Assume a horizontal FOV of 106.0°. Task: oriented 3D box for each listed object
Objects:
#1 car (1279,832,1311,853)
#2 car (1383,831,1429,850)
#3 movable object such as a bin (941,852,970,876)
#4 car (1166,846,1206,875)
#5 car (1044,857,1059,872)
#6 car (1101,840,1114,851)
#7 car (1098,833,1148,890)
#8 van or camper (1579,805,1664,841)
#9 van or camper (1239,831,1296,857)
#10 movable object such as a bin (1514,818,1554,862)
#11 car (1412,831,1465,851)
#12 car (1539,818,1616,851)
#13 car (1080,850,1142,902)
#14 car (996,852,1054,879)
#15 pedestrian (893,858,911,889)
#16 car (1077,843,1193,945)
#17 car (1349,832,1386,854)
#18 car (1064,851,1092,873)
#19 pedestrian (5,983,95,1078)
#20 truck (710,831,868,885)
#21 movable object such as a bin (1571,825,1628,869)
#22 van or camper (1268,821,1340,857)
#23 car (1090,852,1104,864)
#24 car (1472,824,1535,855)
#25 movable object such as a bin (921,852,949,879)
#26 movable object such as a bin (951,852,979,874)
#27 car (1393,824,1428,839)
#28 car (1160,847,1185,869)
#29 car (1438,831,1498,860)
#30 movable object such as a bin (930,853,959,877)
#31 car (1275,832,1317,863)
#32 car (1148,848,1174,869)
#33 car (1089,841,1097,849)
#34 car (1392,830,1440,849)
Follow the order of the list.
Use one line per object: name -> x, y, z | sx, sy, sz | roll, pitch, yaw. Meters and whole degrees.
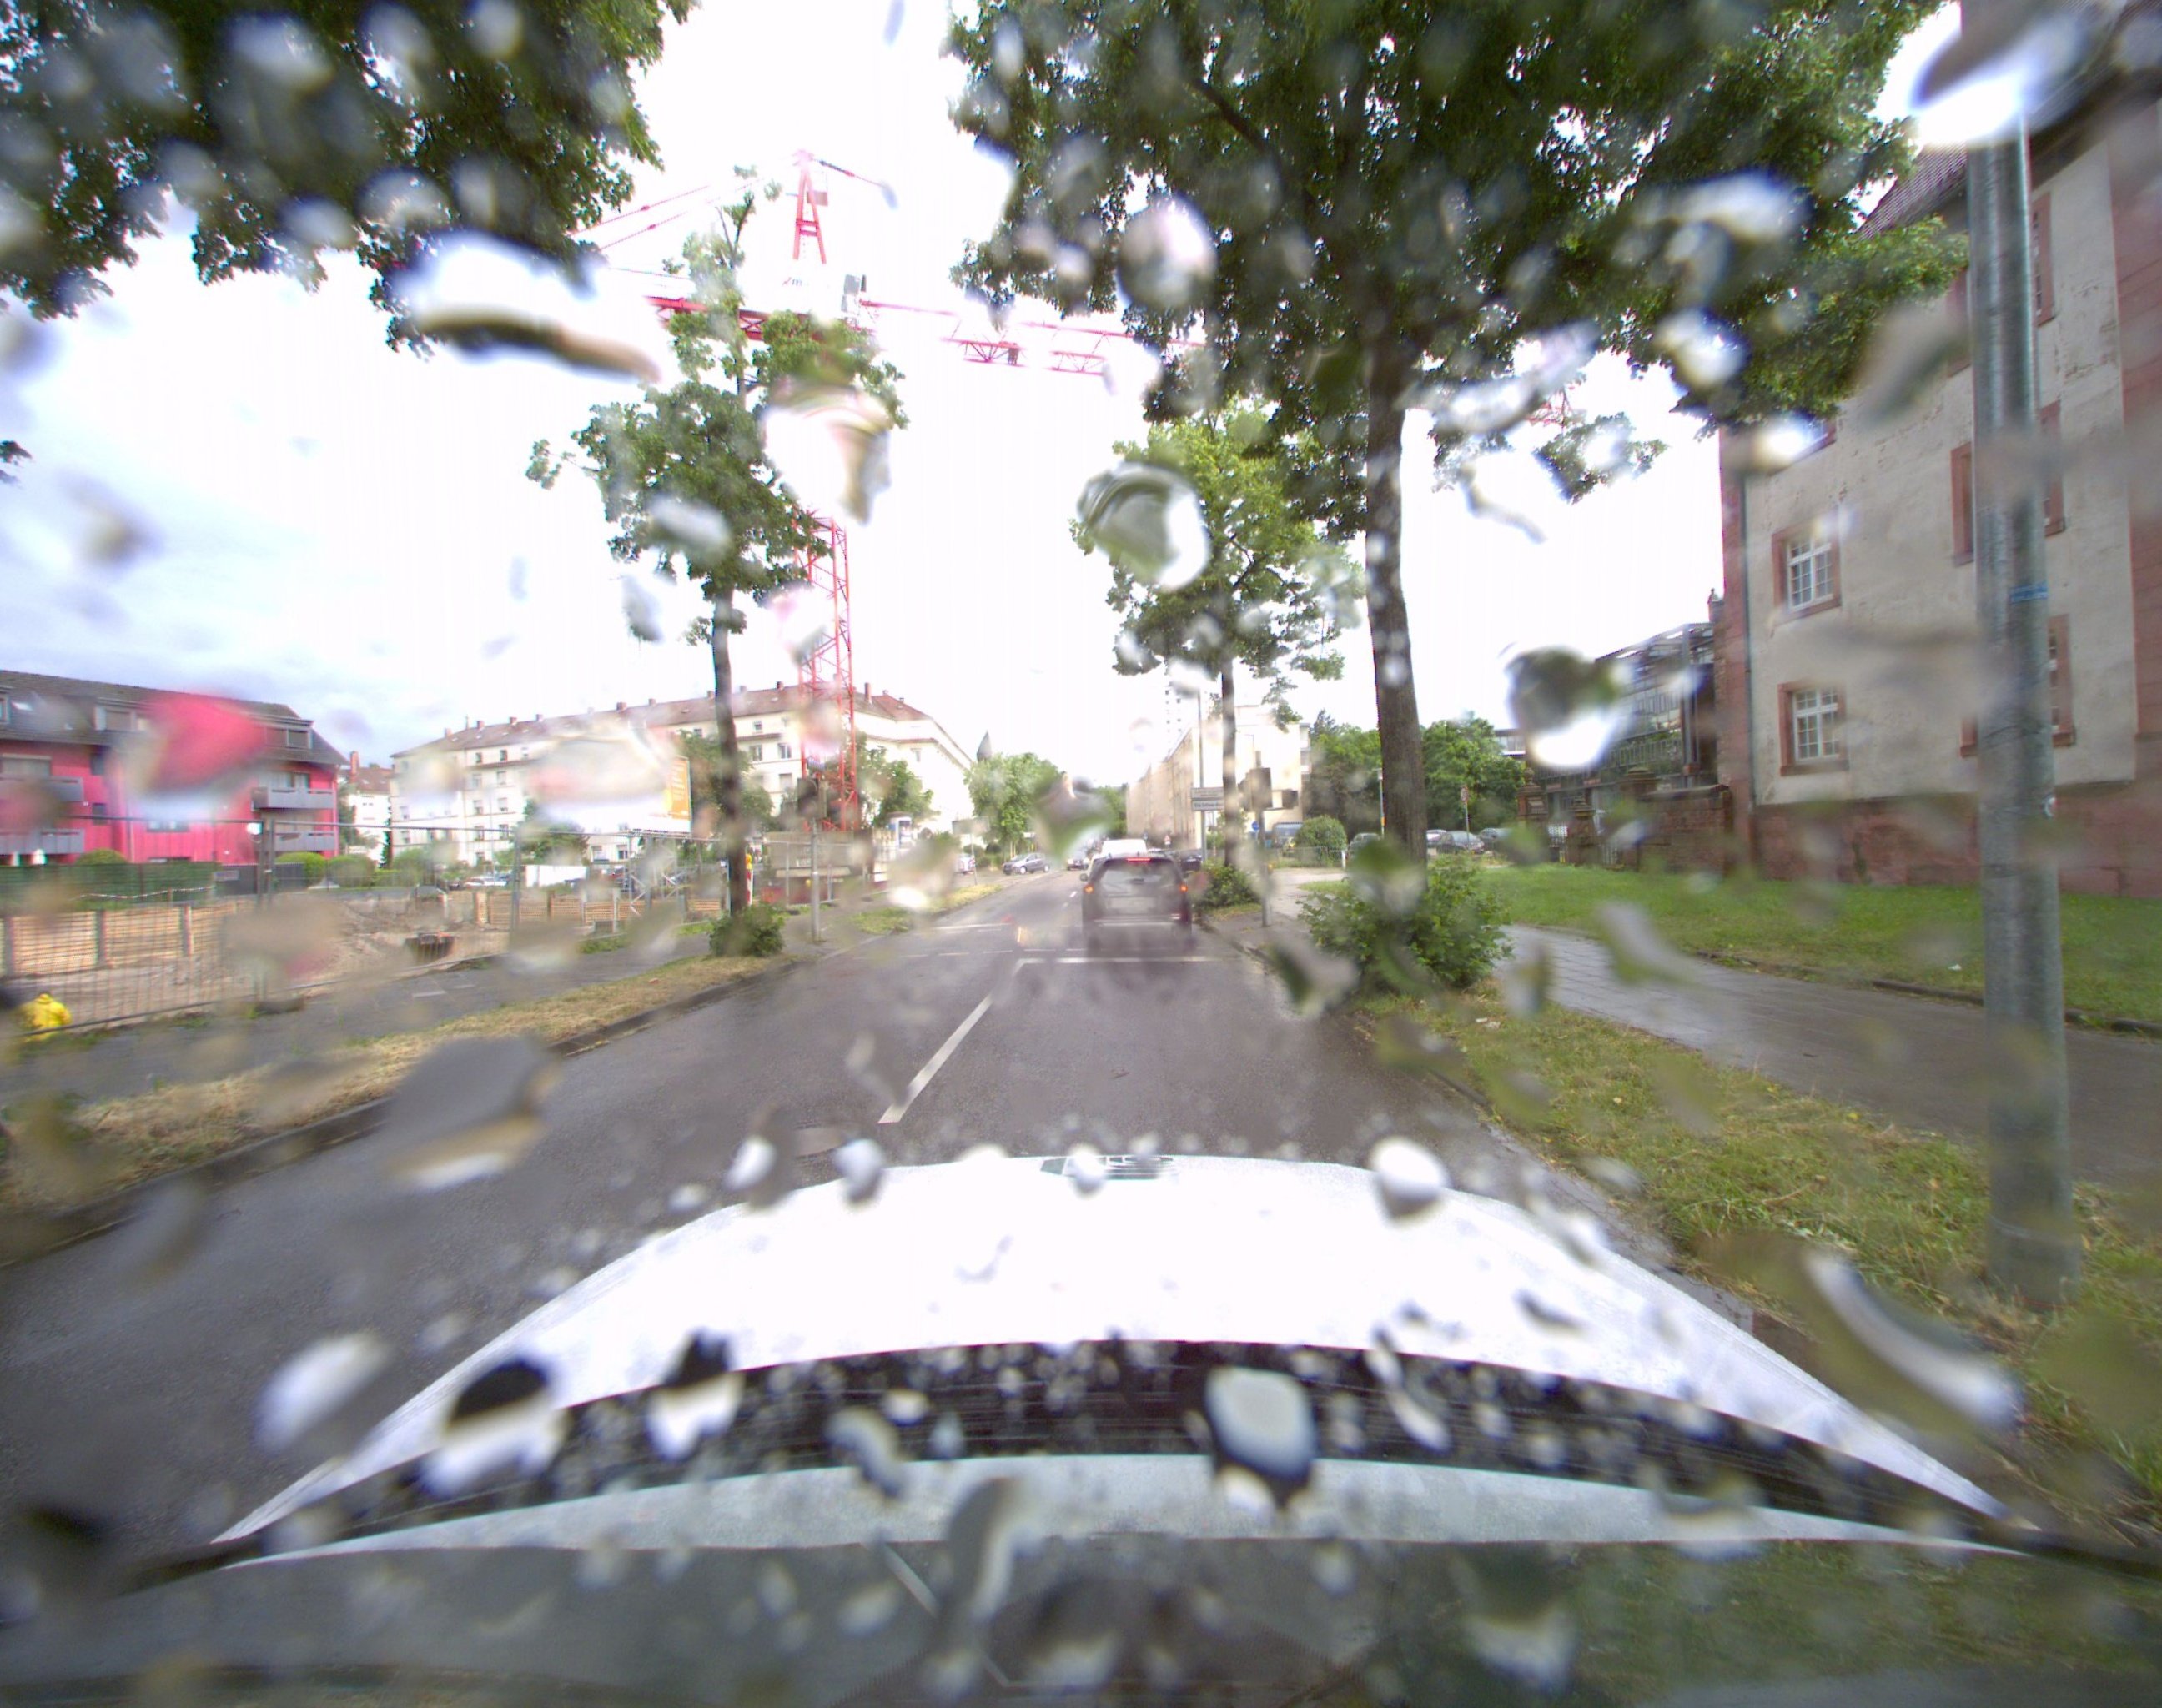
car -> 15.835, -0.845, 60.370 | 1.604, 1.448, 3.419 | -3, 0, 3
car -> 30.275, -1.242, 75.998 | 3.649, 1.486, 1.642 | -3, 0, 5
movable object such as a bin -> -9.817, 0.771, 63.554 | 1.524, 1.674, 1.674 | -3, 1, 21
car -> 6.226, 0.353, 48.723 | 1.768, 1.539, 4.378 | -5, 0, 0
car -> -3.222, 1.147, 89.008 | 1.582, 1.505, 4.061 | -4, 0, -3
car -> 4.196, -1.289, 127.007 | 1.833, 1.608, 3.678 | -4, 0, 3
car -> 1.700, 0.289, 32.134 | 1.828, 2.103, 4.004 | -1, -1, 4
van or camper -> 39.840, -2.240, 60.110 | 4.768, 2.486, 2.258 | 0, -1, 1
van or camper -> 16.974, -0.914, 74.209 | 4.736, 2.131, 2.325 | -2, 1, 5
movable object such as a bin -> 16.064, -0.495, 28.904 | 0.796, 1.457, 1.098 | -4, 0, 3
car -> 29.887, -1.101, 68.192 | 3.649, 1.486, 1.642 | -3, 0, 5
car -> 28.083, -1.083, 46.244 | 1.845, 1.679, 4.428 | -3, 0, 4
car -> 0.954, 0.664, 25.781 | 1.806, 1.503, 4.002 | 0, -1, 2
car -> -3.993, 0.792, 58.401 | 1.870, 1.637, 4.026 | -8, -3, 37
pedestrian -> -9.356, 1.020, 42.627 | 0.727, 1.629, 0.676 | 0, -1, -36
car -> 0.947, 0.663, 15.293 | 1.866, 1.645, 4.063 | -1, 0, 2
car -> 20.942, -0.779, 59.672 | 1.641, 1.486, 3.723 | -3, 0, 5
car -> -0.194, 0.615, 64.139 | 1.805, 1.540, 3.986 | -3, -1, 4
pedestrian -> -20.653, 3.516, 16.325 | 0.584, 1.685, 0.850 | -5, 0, 7
truck -> -20.351, 0.260, 56.840 | 9.739, 3.184, 3.808 | -3, 0, 15
movable object such as a bin -> 18.470, -0.240, 29.025 | 1.101, 1.457, 1.392 | -4, 0, 3
van or camper -> 17.423, -1.158, 63.787 | 4.977, 2.554, 2.176 | -2, -1, 3
car -> 2.391, 0.590, 120.576 | 1.733, 1.608, 3.678 | -4, 0, 3
car -> 24.968, -0.833, 48.304 | 1.843, 1.679, 4.433 | -3, 0, 8
movable object such as a bin -> -10.816, 0.849, 60.473 | 1.524, 1.824, 1.270 | -3, 1, 21
movable object such as a bin -> -9.259, 0.694, 65.058 | 1.524, 1.662, 1.466 | -3, 1, 21
car -> 35.827, -2.409, 88.661 | 3.210, 1.397, 1.511 | -3, 0, 5
car -> 6.733, 0.303, 60.302 | 1.748, 1.528, 4.006 | 1, -2, 6
car -> 22.713, -0.522, 48.006 | 1.819, 1.527, 4.432 | -3, 0, 7
movable object such as a bin -> -10.407, 0.826, 62.005 | 1.524, 1.656, 1.536 | -3, 1, 21
car -> 13.498, -0.407, 51.384 | 1.795, 1.750, 4.243 | -3, 0, 4
car -> 6.402, 0.323, 65.408 | 1.599, 1.508, 4.159 | -5, 0, 0
car -> 2.739, -2.058, 191.373 | 1.660, 1.837, 3.999 | -3, 0, 0
car -> 30.232, -1.335, 73.503 | 3.649, 1.486, 1.642 | -3, 0, 5
